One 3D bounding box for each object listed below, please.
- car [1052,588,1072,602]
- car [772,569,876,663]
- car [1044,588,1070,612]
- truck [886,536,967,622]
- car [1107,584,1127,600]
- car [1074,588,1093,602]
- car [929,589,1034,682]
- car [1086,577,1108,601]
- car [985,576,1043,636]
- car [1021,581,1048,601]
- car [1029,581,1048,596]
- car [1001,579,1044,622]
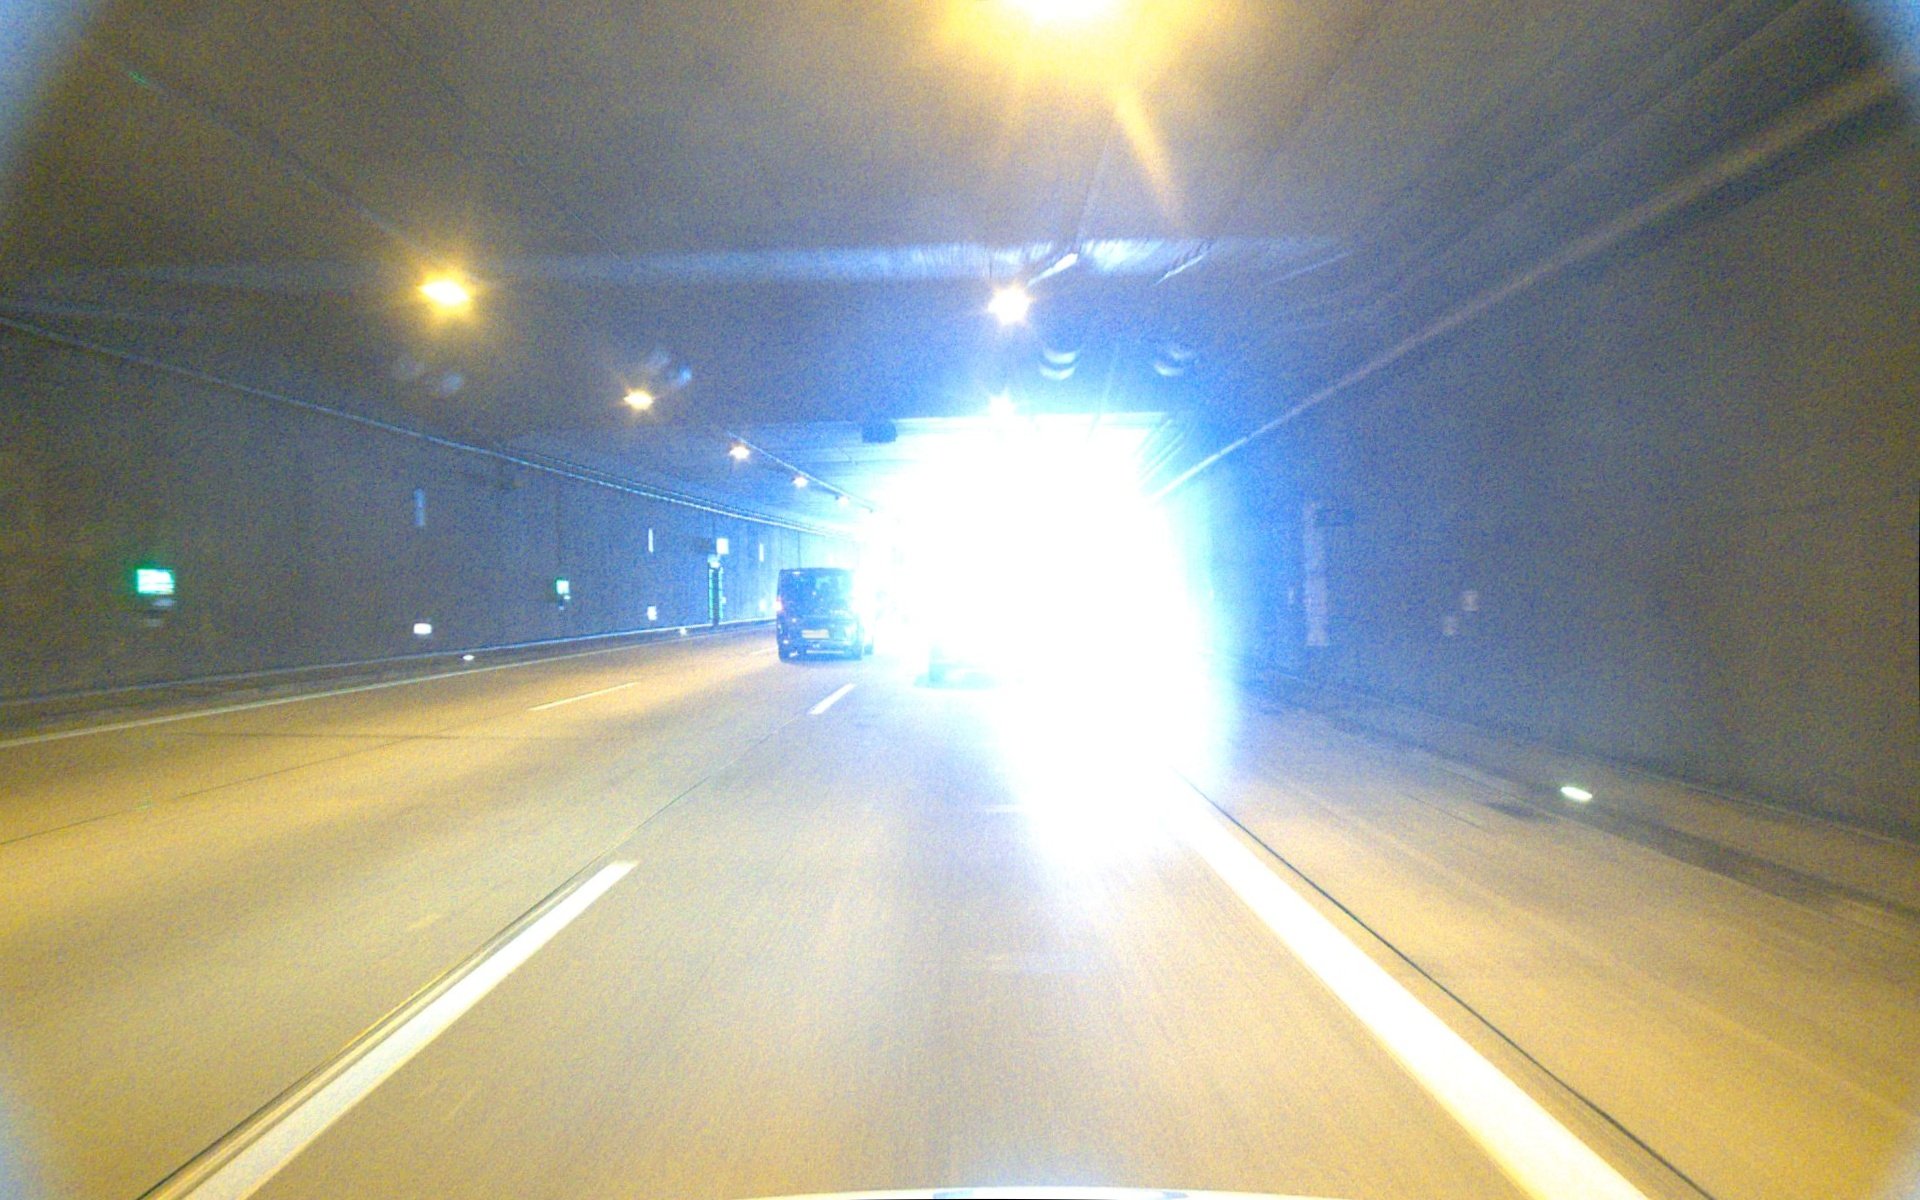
[{"bbox_3d":[12.858,-0.628,208.208,1.889,1.671,4.003,0,-2,11],"label":"car"},{"bbox_3d":[-2.977,0.320,36.843,1.870,1.978,3.872,0,0,2],"label":"car"},{"bbox_3d":[7.136,0.021,122.025,1.890,1.671,4.001,0,-2,3],"label":"car"},{"bbox_3d":[-1.421,-0.915,74.990,2.975,3.737,7.396,0,0,4],"label":"truck"},{"bbox_3d":[16.742,-0.825,176.606,1.889,1.671,4.003,0,0,9],"label":"car"},{"bbox_3d":[15.175,-0.602,202.352,1.951,1.660,4.003,0,-1,9],"label":"car"},{"bbox_3d":[0.423,0.568,28.881,1.706,1.489,3.872,0,0,2],"label":"car"},{"bbox_3d":[12.613,-1.009,151.980,1.951,2.049,4.002,0,-2,6],"label":"car"},{"bbox_3d":[1.828,0.188,54.794,1.818,1.887,4.002,0,0,4],"label":"car"},{"bbox_3d":[6.581,-0.769,145.183,1.951,1.660,4.003,0,-1,9],"label":"car"},{"bbox_3d":[9.258,-1.356,194.902,1.889,1.671,4.003,0,0,6],"label":"car"},{"bbox_3d":[2.913,0.053,76.649,1.909,1.803,4.000,0,-2,2],"label":"car"}]
